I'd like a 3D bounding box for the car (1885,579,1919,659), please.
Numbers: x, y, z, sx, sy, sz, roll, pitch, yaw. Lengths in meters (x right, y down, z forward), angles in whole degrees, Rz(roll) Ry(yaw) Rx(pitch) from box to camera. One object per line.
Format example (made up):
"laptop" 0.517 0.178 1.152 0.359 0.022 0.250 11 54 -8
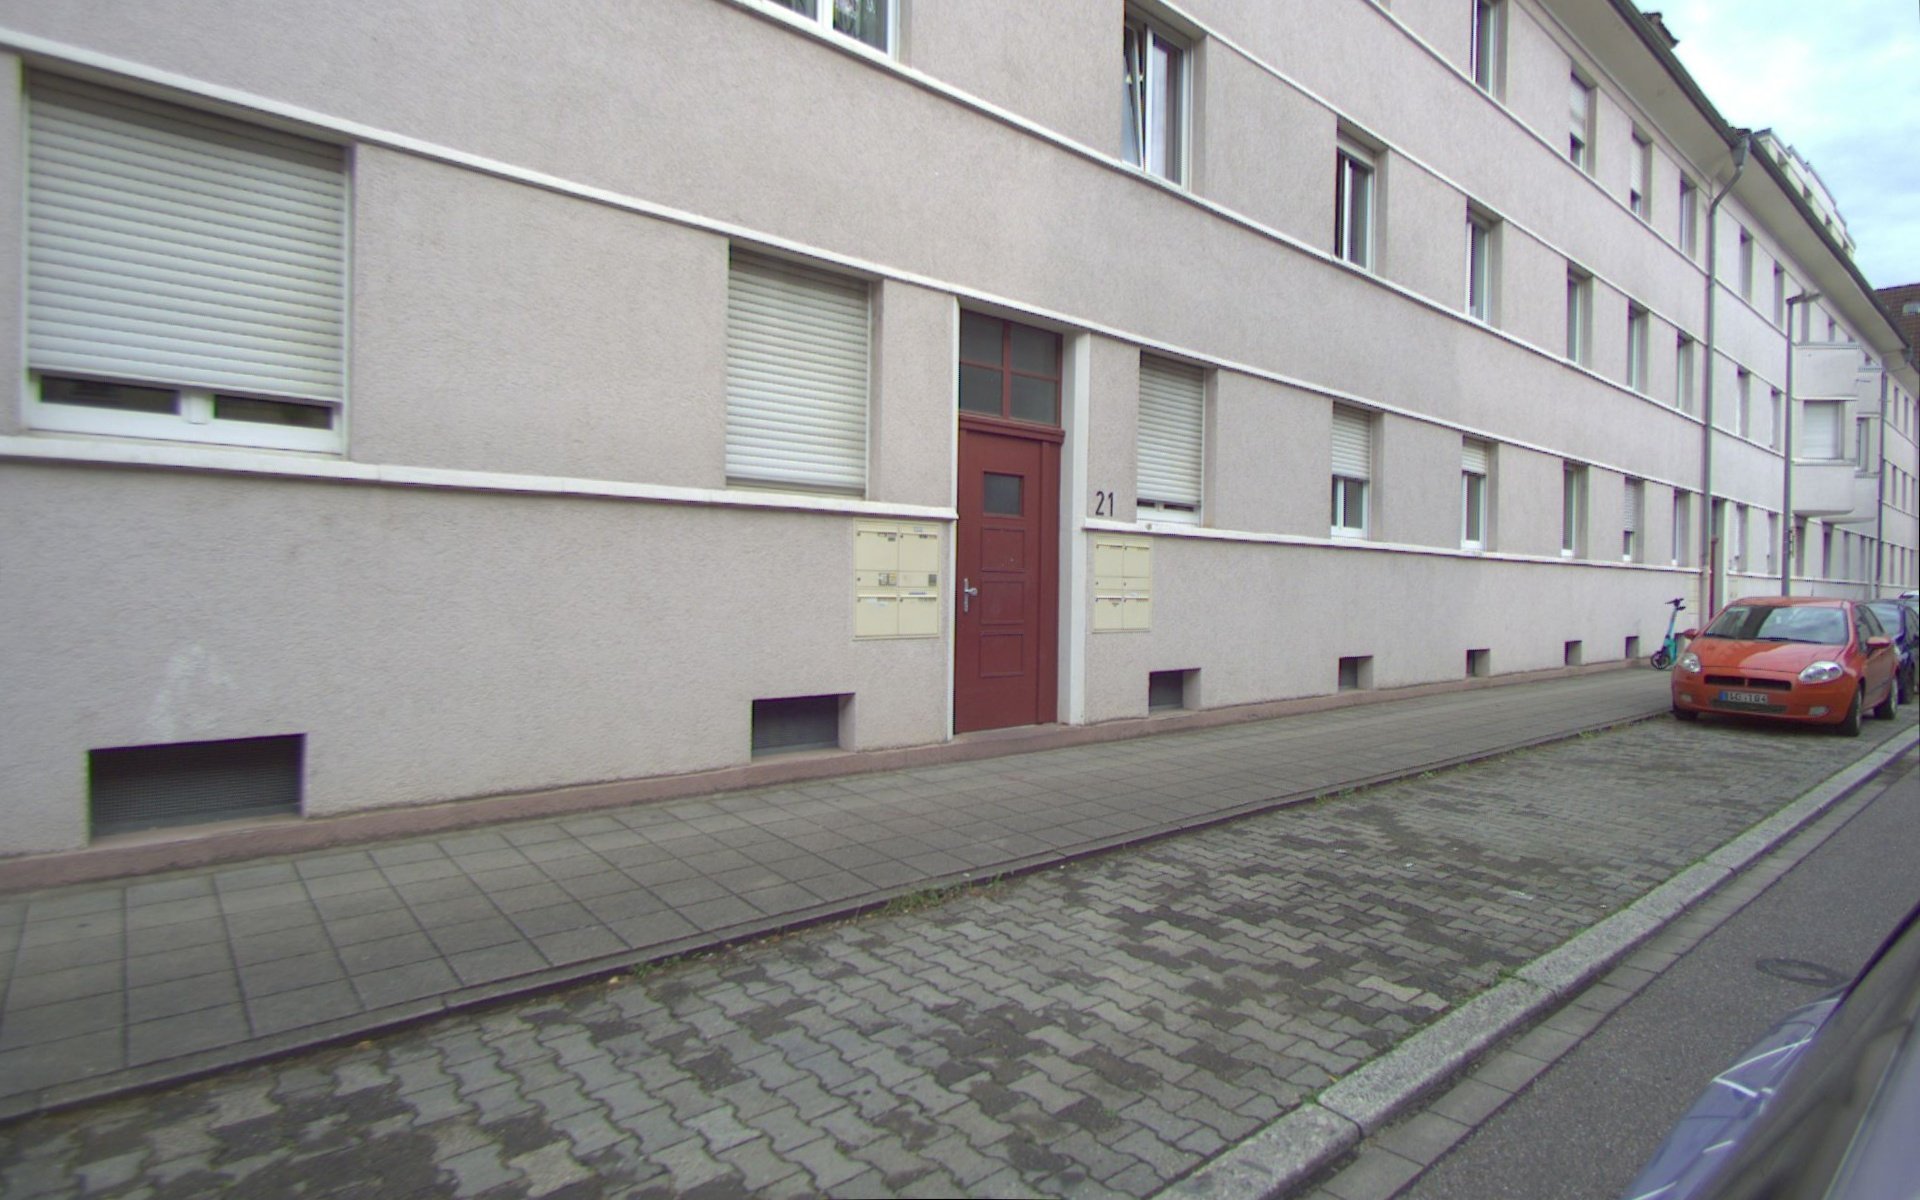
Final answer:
"car" 22.266 0.432 22.688 4.216 1.694 1.845 0 2 -43

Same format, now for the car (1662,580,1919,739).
"car" 9.909 0.583 11.982 3.758 1.544 1.700 0 2 -41

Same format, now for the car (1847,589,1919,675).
"car" 18.238 0.562 19.171 3.801 1.497 1.571 0 1 -40

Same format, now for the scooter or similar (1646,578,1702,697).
"scooter or similar" 12.467 0.648 17.676 0.665 2.040 0.346 -1 -2 -1

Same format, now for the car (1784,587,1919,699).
"car" 14.225 0.588 15.648 3.630 1.491 1.571 0 3 -39
